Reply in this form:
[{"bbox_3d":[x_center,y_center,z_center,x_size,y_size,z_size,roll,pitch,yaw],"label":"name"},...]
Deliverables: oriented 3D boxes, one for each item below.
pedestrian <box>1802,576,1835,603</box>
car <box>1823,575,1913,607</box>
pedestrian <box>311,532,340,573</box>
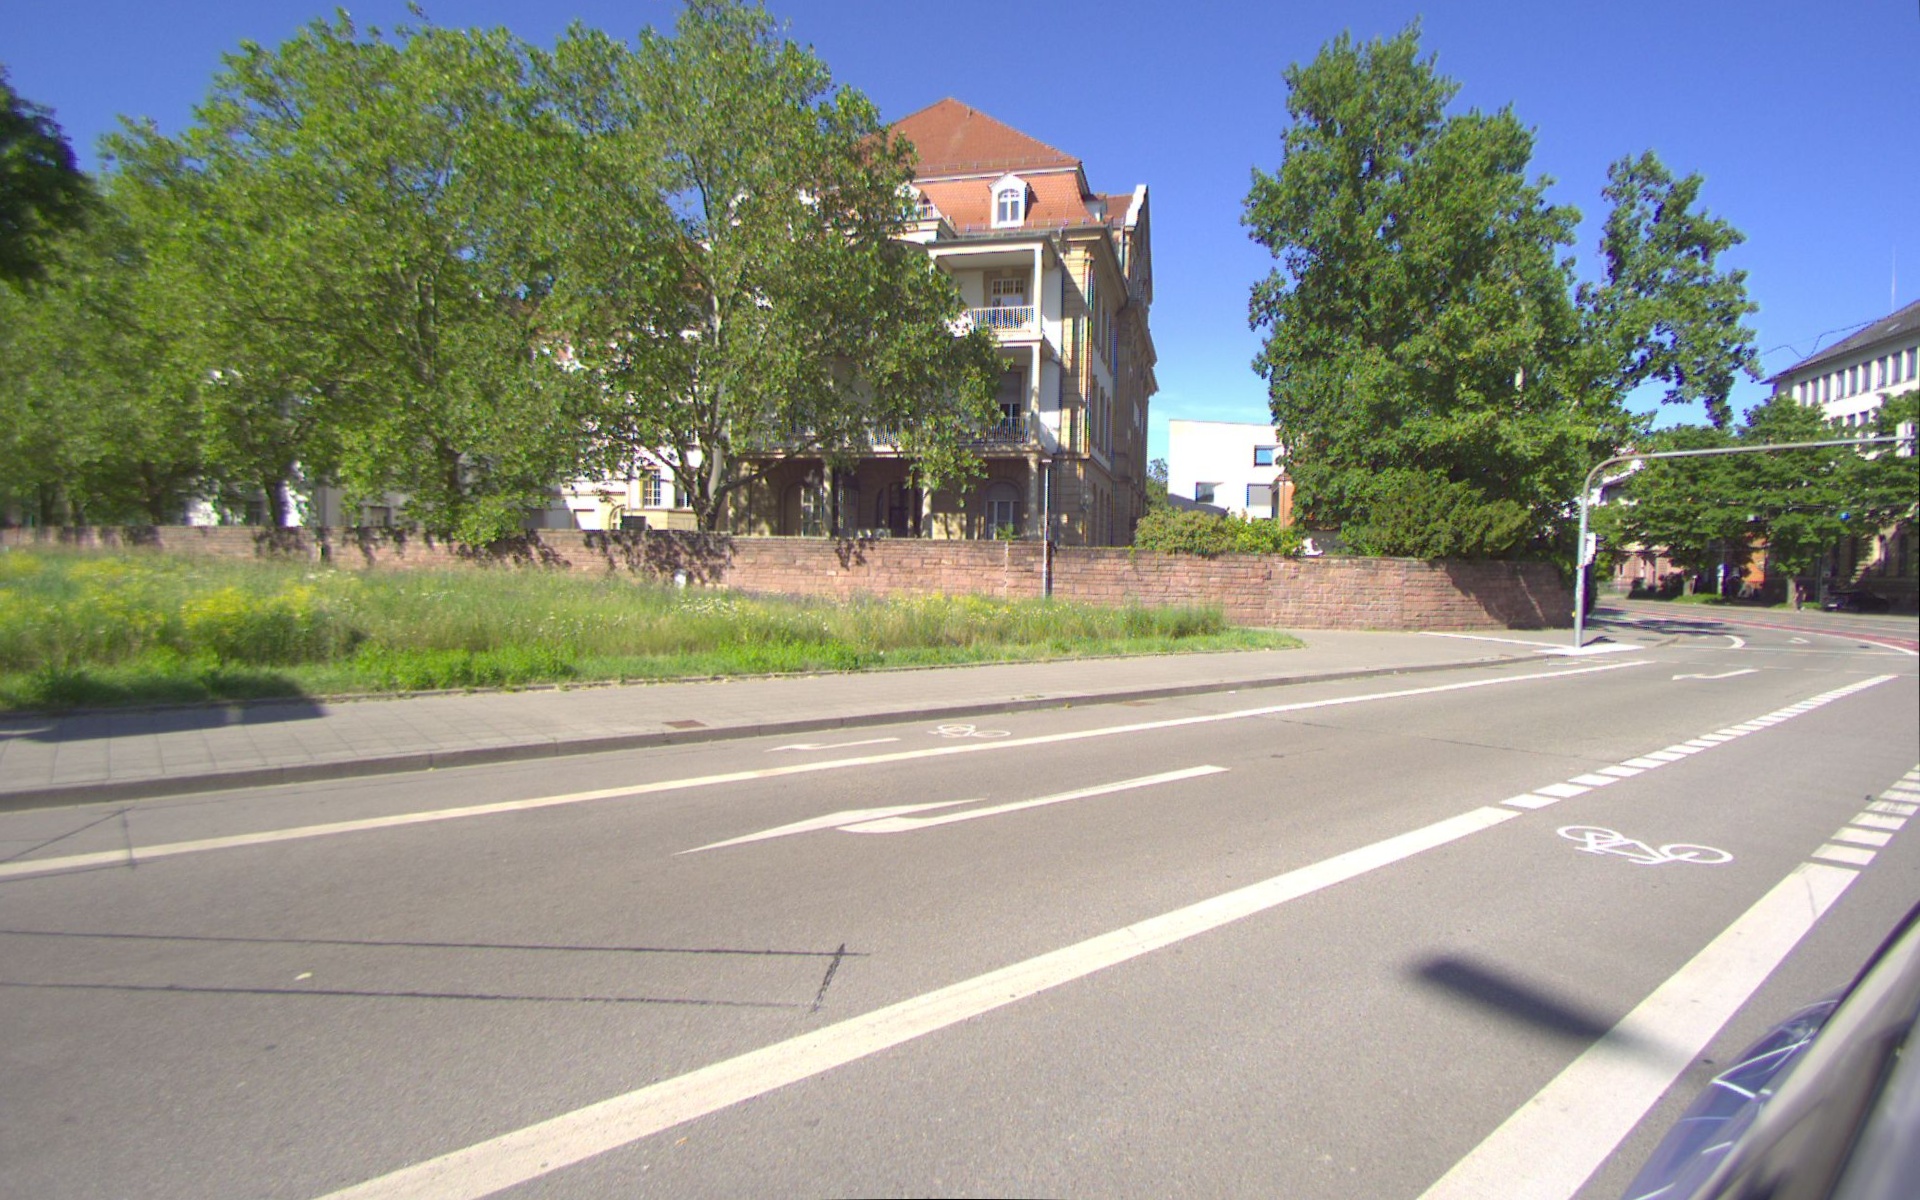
[{"bbox_3d":[59.684,-0.736,70.353,1.366,1.844,0.937,1,1,4],"label":"pedestrian"},{"bbox_3d":[61.203,-0.643,68.252,4.615,2.038,2.004,1,2,-9],"label":"car"},{"bbox_3d":[-23.059,-1.717,36.787,0.516,1.461,0.721,0,0,20],"label":"pedestrian"}]
